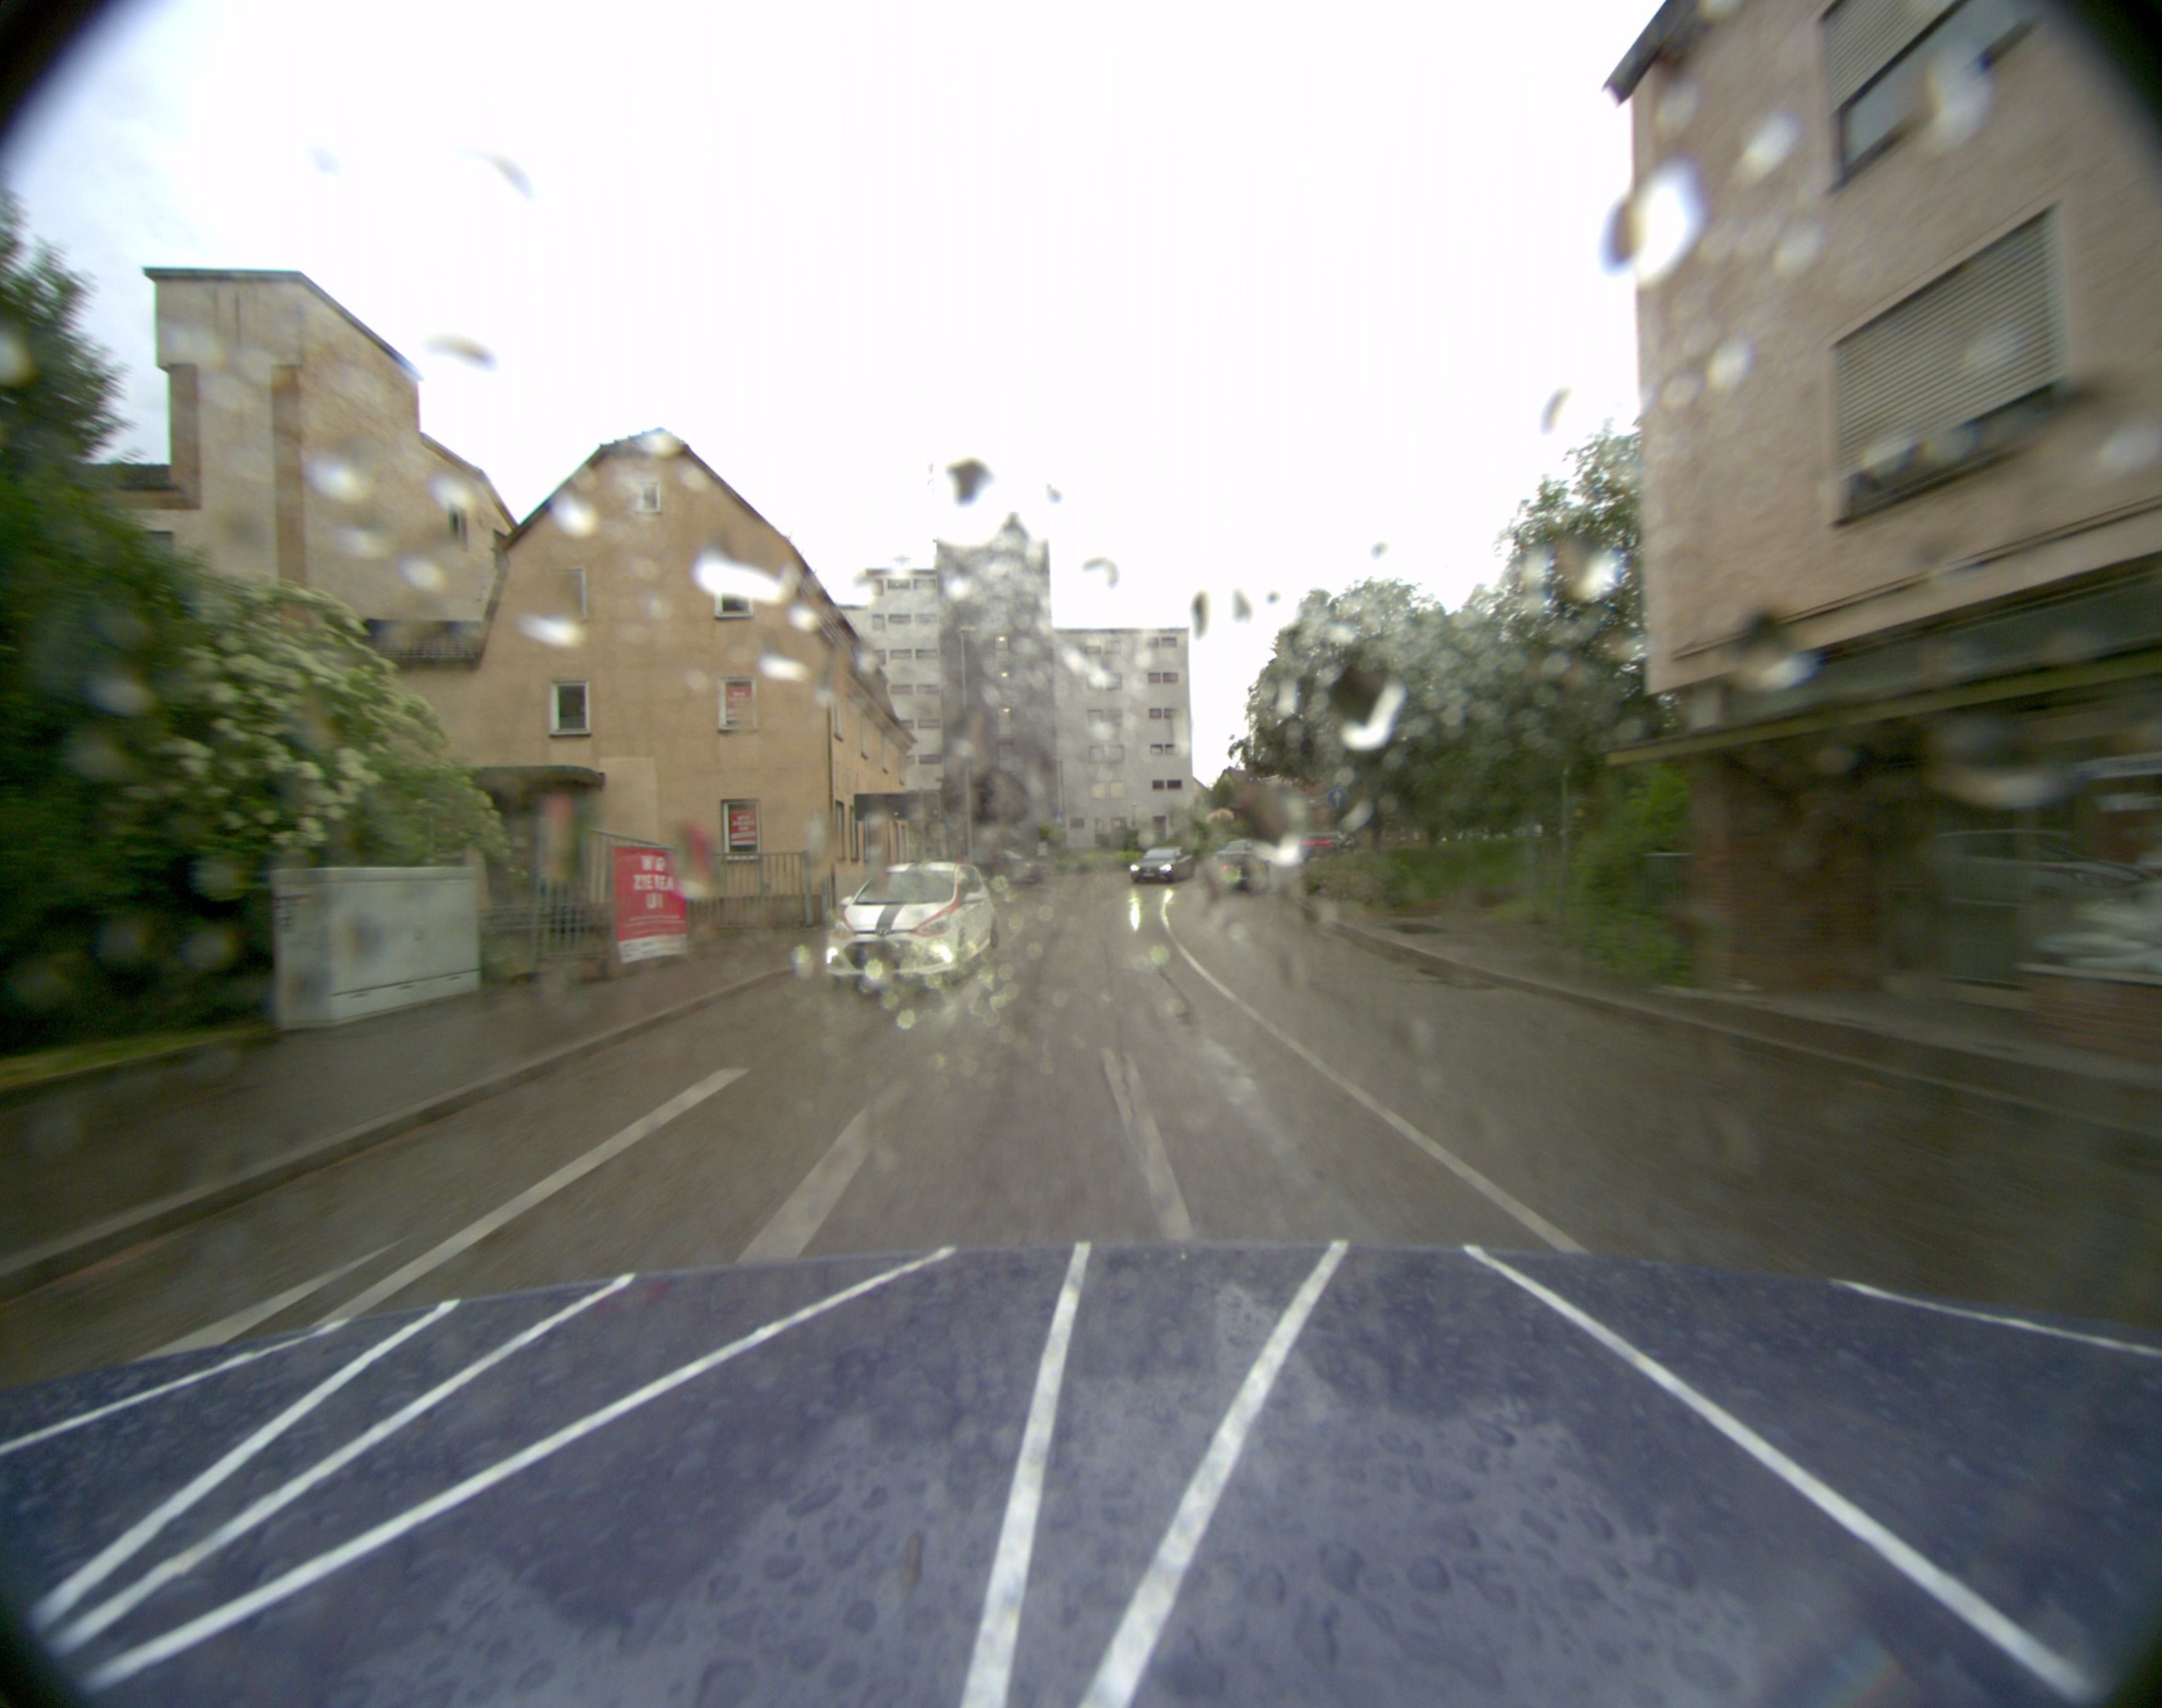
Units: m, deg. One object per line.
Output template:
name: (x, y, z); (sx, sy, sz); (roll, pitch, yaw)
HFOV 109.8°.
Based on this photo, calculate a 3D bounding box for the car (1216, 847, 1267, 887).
car: (6.248, 0.459, 29.492); (1.773, 1.394, 3.922); (-1, 1, 13)

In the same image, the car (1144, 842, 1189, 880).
car: (3.863, 0.271, 34.417); (1.837, 1.505, 4.849); (-3, 1, 6)

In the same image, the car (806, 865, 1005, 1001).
car: (-2.255, 0.964, 10.814); (1.710, 1.445, 3.763); (-2, 1, 3)

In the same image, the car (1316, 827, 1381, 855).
car: (19.478, -0.933, 55.241); (4.955, 1.648, 1.897); (3, -4, -35)

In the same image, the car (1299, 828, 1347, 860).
car: (14.031, -0.625, 43.949); (1.894, 1.587, 4.361); (1, 4, 28)

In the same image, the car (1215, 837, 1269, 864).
car: (9.126, -0.232, 42.689); (1.787, 1.339, 4.952); (-3, 0, 26)

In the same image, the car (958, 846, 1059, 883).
car: (-3.403, 0.457, 35.759); (4.408, 1.564, 1.721); (0, 3, 23)
